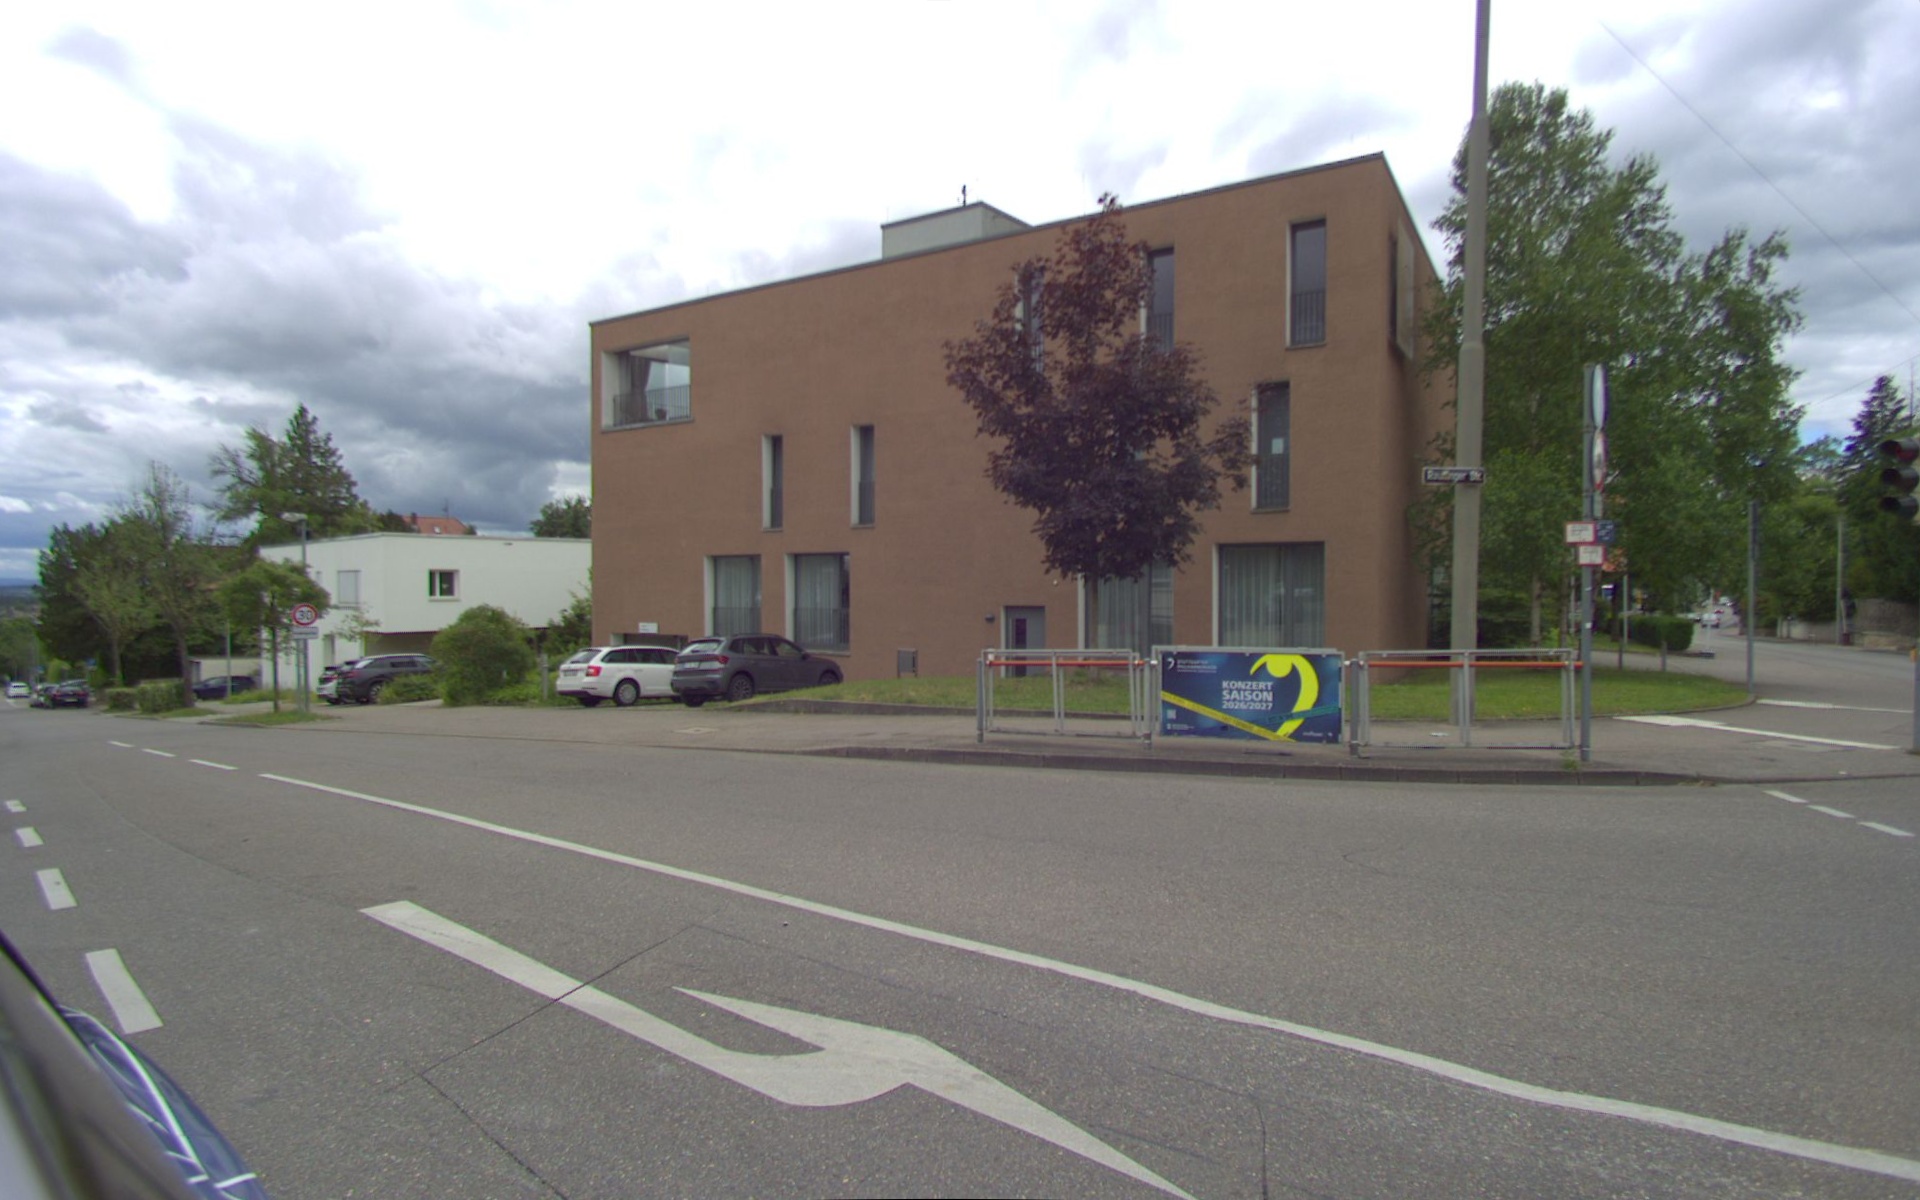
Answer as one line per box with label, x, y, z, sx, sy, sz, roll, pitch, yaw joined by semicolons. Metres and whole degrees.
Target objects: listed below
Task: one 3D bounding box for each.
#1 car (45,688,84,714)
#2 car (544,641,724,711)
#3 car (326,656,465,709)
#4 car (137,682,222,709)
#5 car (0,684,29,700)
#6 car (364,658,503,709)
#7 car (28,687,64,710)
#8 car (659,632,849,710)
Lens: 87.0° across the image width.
car;-54.937;6.167;62.072;1.638;1.432;4.003;0;-4;-44
car;-8.002;1.844;25.124;1.724;1.497;3.950;-5;-4;37
car;-19.979;2.897;35.937;1.793;1.608;3.943;-6;-4;43
car;-46.975;5.735;60.938;3.939;1.296;1.665;0;-4;-43
car;-95.908;9.294;102.359;4.362;1.432;1.861;-3;-3;38
car;-18.236;2.876;35.152;1.727;1.497;3.943;-6;-4;43
car;-61.560;6.625;68.151;1.638;1.432;4.371;0;-4;-44
car;-4.484;1.545;22.508;1.724;1.497;3.950;-5;-4;37
